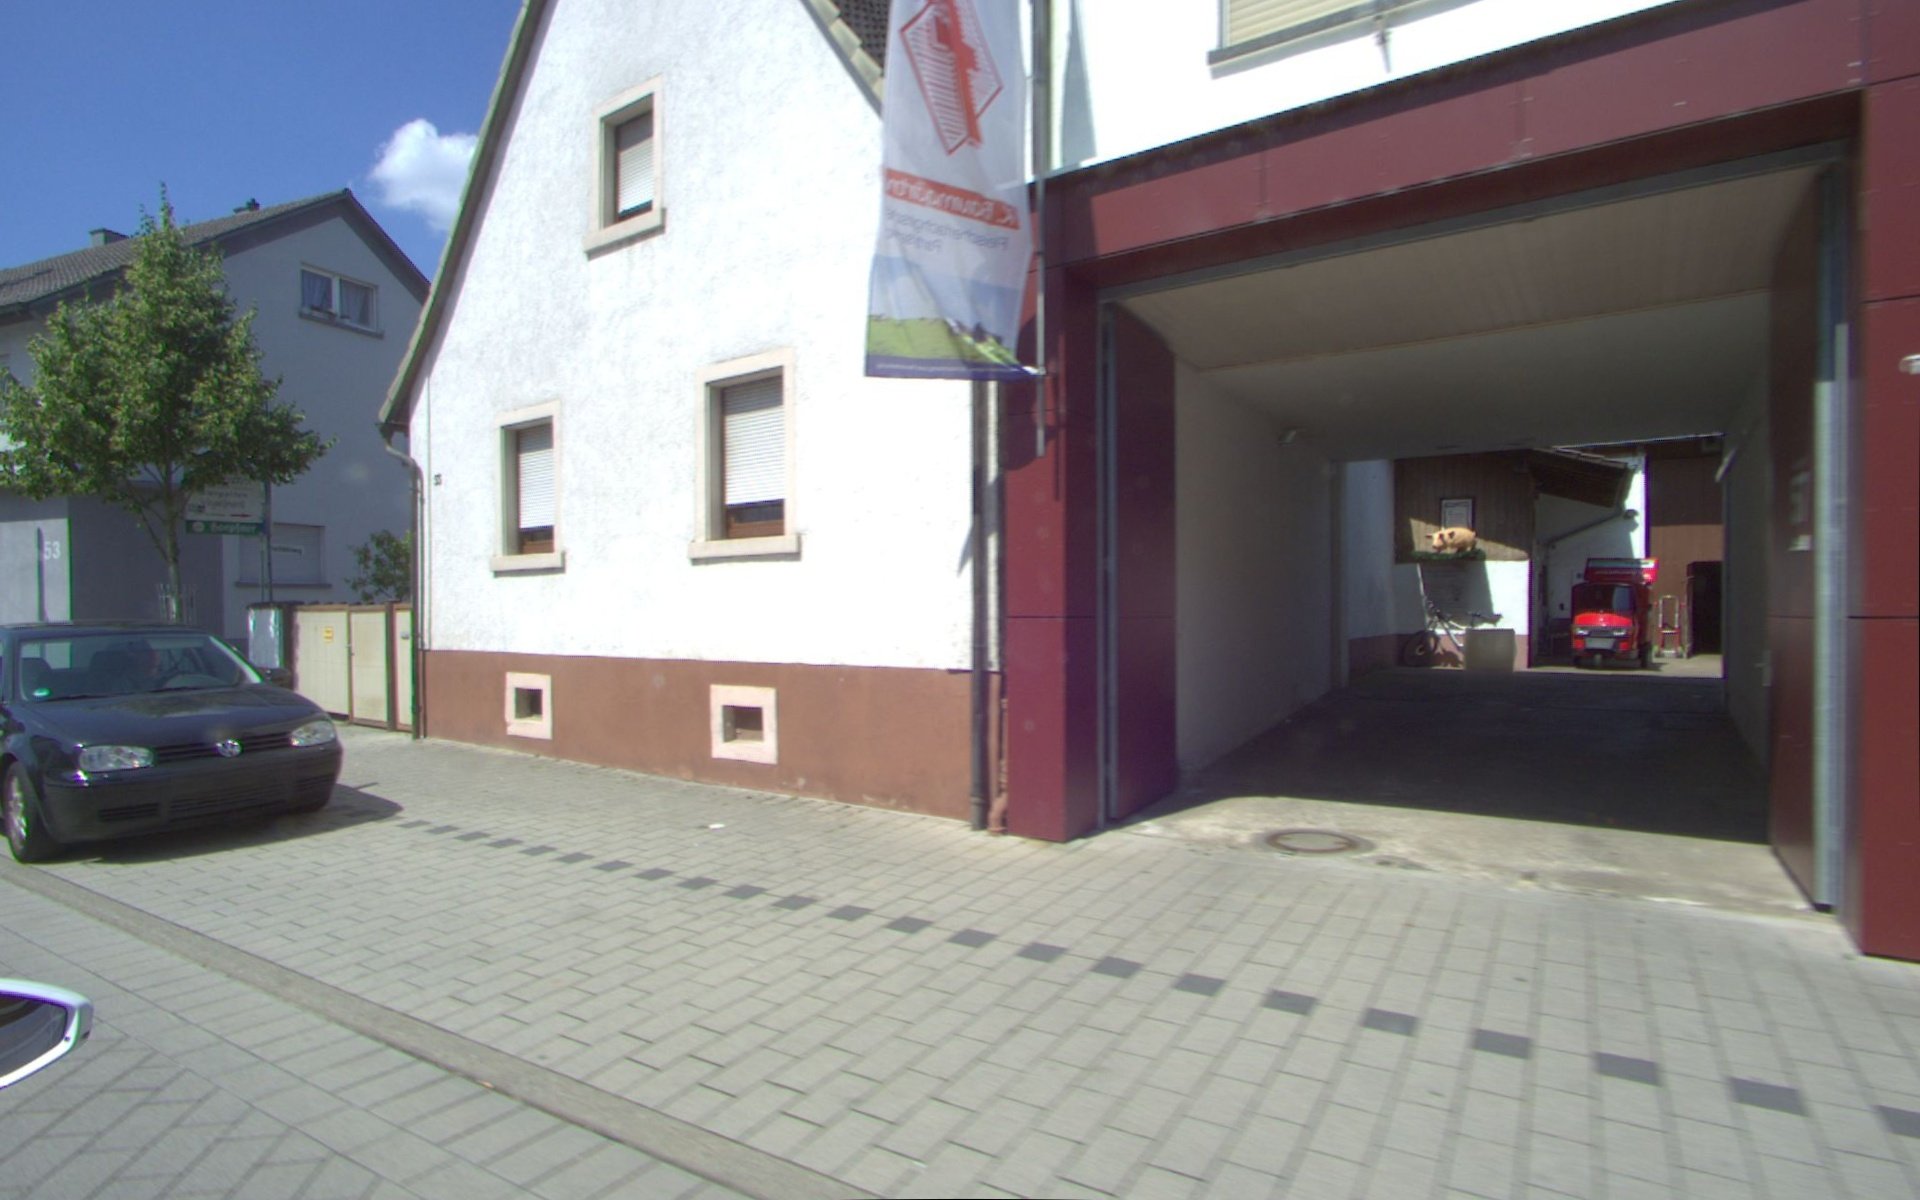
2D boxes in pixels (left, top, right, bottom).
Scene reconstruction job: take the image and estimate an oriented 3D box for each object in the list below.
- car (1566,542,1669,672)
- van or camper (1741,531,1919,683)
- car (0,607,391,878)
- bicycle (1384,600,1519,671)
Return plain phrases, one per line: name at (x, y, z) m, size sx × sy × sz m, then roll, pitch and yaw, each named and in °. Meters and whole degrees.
car at (12.278, 0.155, 18.717) m, size 1.455 × 2.172 × 3.725 m, roll 0°, pitch -1°, yaw 34°
van or camper at (13.774, 0.183, 15.865) m, size 1.973 × 2.039 × 4.839 m, roll 0°, pitch -2°, yaw 35°
car at (-6.146, 0.799, 7.370) m, size 4.062 × 1.458 × 1.755 m, roll 0°, pitch 1°, yaw 34°
bicycle at (8.832, 0.614, 18.031) m, size 2.136 × 1.222 × 0.654 m, roll 0°, pitch 1°, yaw 30°
